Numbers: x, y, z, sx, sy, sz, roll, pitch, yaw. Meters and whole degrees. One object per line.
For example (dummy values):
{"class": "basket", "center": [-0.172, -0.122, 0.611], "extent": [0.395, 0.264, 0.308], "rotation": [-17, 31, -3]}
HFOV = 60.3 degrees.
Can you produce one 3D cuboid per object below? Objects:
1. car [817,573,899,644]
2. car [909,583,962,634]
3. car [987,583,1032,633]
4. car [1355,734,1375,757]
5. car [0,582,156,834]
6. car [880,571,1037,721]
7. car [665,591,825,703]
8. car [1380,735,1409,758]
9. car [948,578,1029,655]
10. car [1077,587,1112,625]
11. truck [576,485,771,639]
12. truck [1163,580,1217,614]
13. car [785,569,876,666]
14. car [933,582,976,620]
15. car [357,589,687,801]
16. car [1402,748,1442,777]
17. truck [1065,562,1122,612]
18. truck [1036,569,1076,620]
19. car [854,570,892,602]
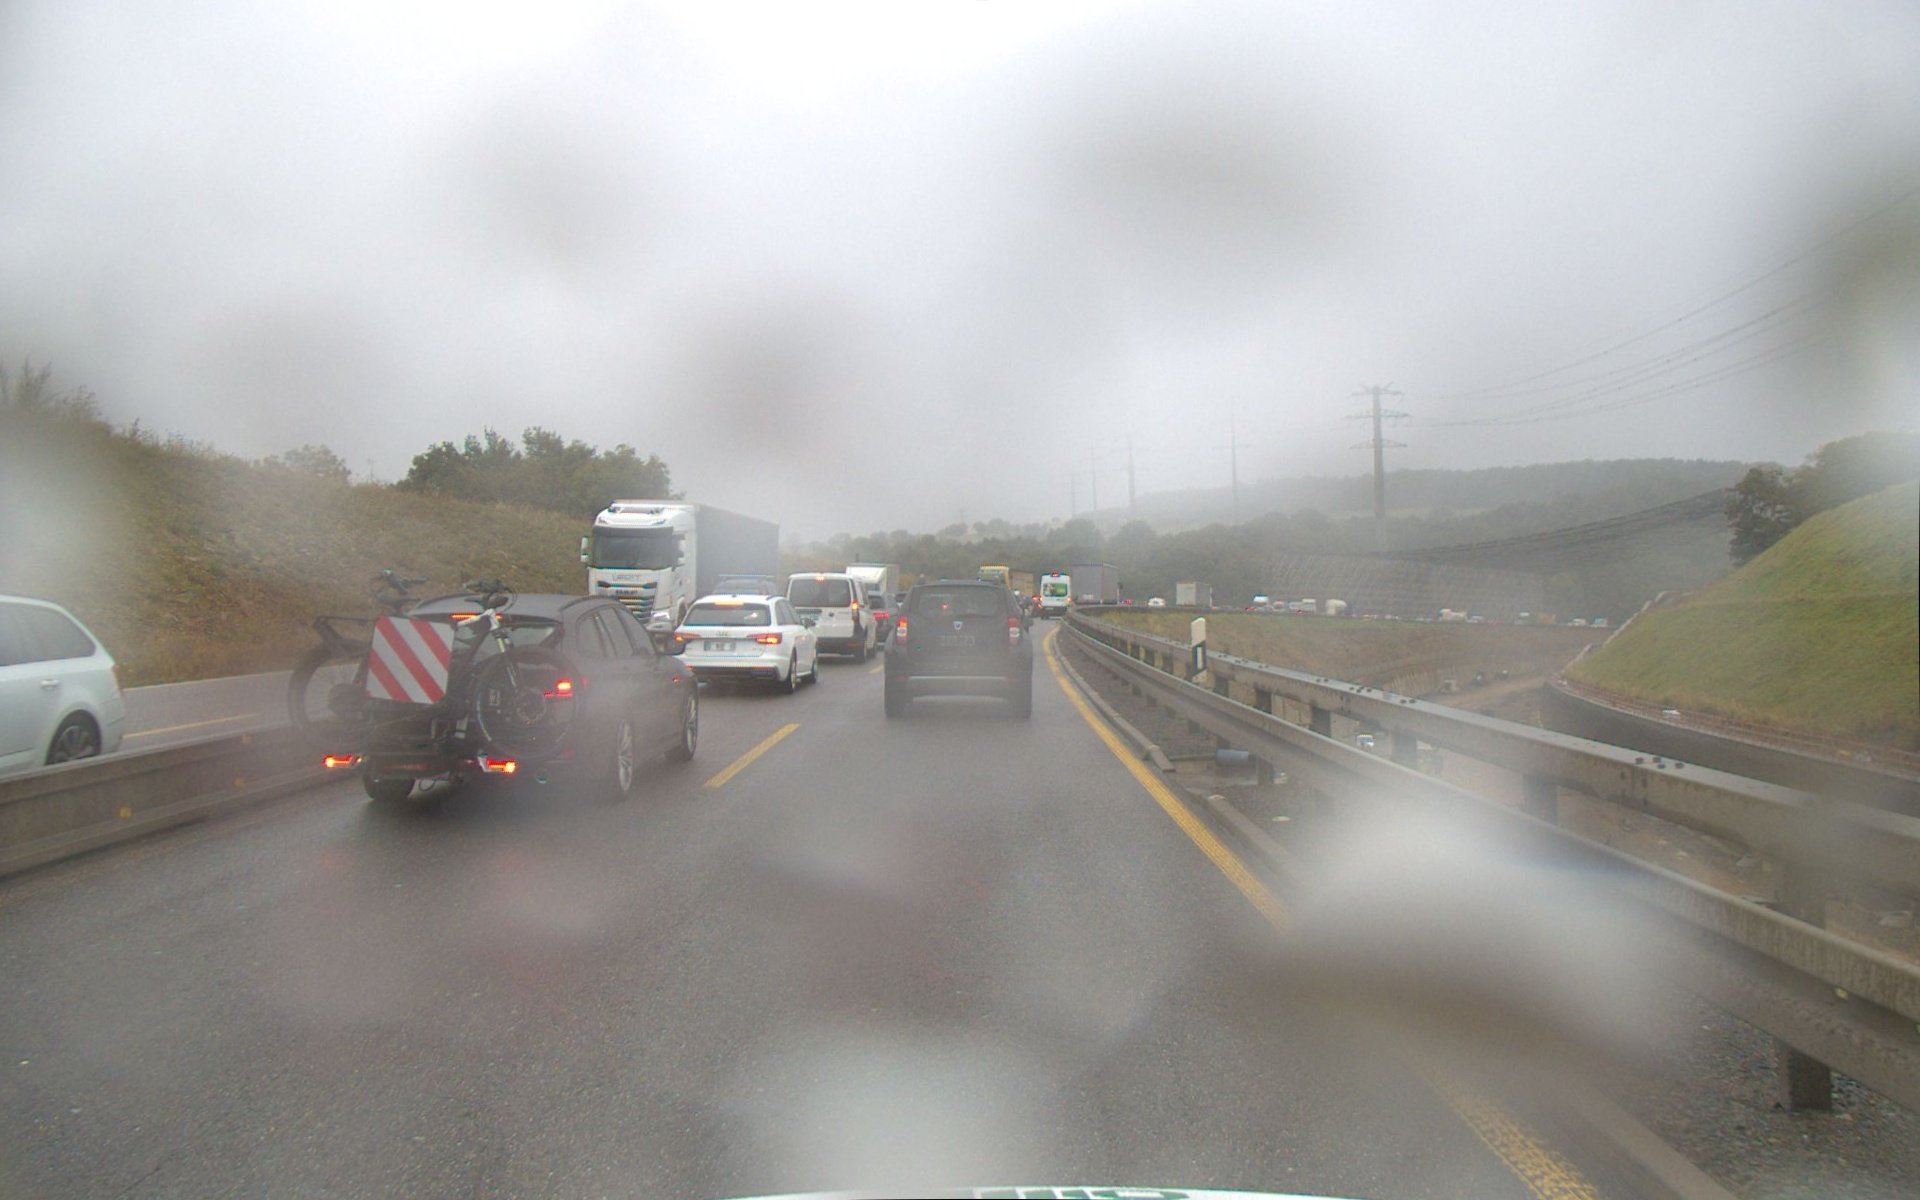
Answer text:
{"class": "car", "center": [-2.643, 0.203, 43.698], "extent": [1.829, 1.738, 4.092], "rotation": [1, 0, 0]}
{"class": "car", "center": [-0.870, 0.312, 59.692], "extent": [1.829, 1.738, 4.091], "rotation": [-1, 0, -1]}
{"class": "car", "center": [1.724, 0.270, 58.433], "extent": [1.499, 1.669, 4.013], "rotation": [1, 0, 1]}
{"class": "car", "center": [43.389, 15.608, 177.238], "extent": [1.951, 2.049, 4.003], "rotation": [1, 0, 13]}
{"class": "car", "center": [-6.641, 0.635, 9.499], "extent": [1.829, 1.486, 4.548], "rotation": [1, 0, -1]}
{"class": "car", "center": [0.015, 0.510, 20.528], "extent": [1.767, 1.674, 3.777], "rotation": [0, 0, 1]}
{"class": "car", "center": [-3.153, 0.640, 25.103], "extent": [1.829, 1.486, 4.548], "rotation": [1, 0, -1]}
{"class": "car", "center": [41.767, 14.064, 159.093], "extent": [1.952, 1.847, 4.001], "rotation": [1, 0, 3]}
{"class": "car", "center": [0.648, 0.359, 40.102], "extent": [1.829, 1.738, 4.000], "rotation": [1, 0, -1]}
{"class": "car", "center": [7.235, 0.308, 89.226], "extent": [1.738, 1.949, 4.002], "rotation": [1, 0, 4]}
{"class": "truck", "center": [-8.732, -1.082, 52.809], "extent": [2.872, 4.168, 14.396], "rotation": [1, 0, 3]}
{"class": "truck", "center": [30.152, -0.404, 216.066], "extent": [4.618, 4.222, 15.691], "rotation": [1, 0, 17]}
{"class": "car", "center": [-2.722, 0.344, 35.426], "extent": [1.626, 1.912, 4.019], "rotation": [1, 0, -1]}
{"class": "car", "center": [-0.232, 0.037, 78.600], "extent": [1.829, 1.738, 4.093], "rotation": [1, 0, 2]}
{"class": "car", "center": [-3.429, 0.672, 13.676], "extent": [1.792, 1.502, 3.775], "rotation": [0, 0, -1]}
{"class": "car", "center": [39.590, 13.912, 141.843], "extent": [2.316, 2.049, 4.000], "rotation": [1, 0, 0]}
{"class": "truck", "center": [10.637, -1.003, 130.820], "extent": [3.132, 3.827, 8.516], "rotation": [1, 0, 13]}
{"class": "truck", "center": [6.343, -0.349, 108.304], "extent": [2.103, 3.221, 6.464], "rotation": [1, 0, 7]}
{"class": "car", "center": [-4.929, -0.790, 93.877], "extent": [1.829, 1.609, 4.091], "rotation": [2, -2, 1]}
